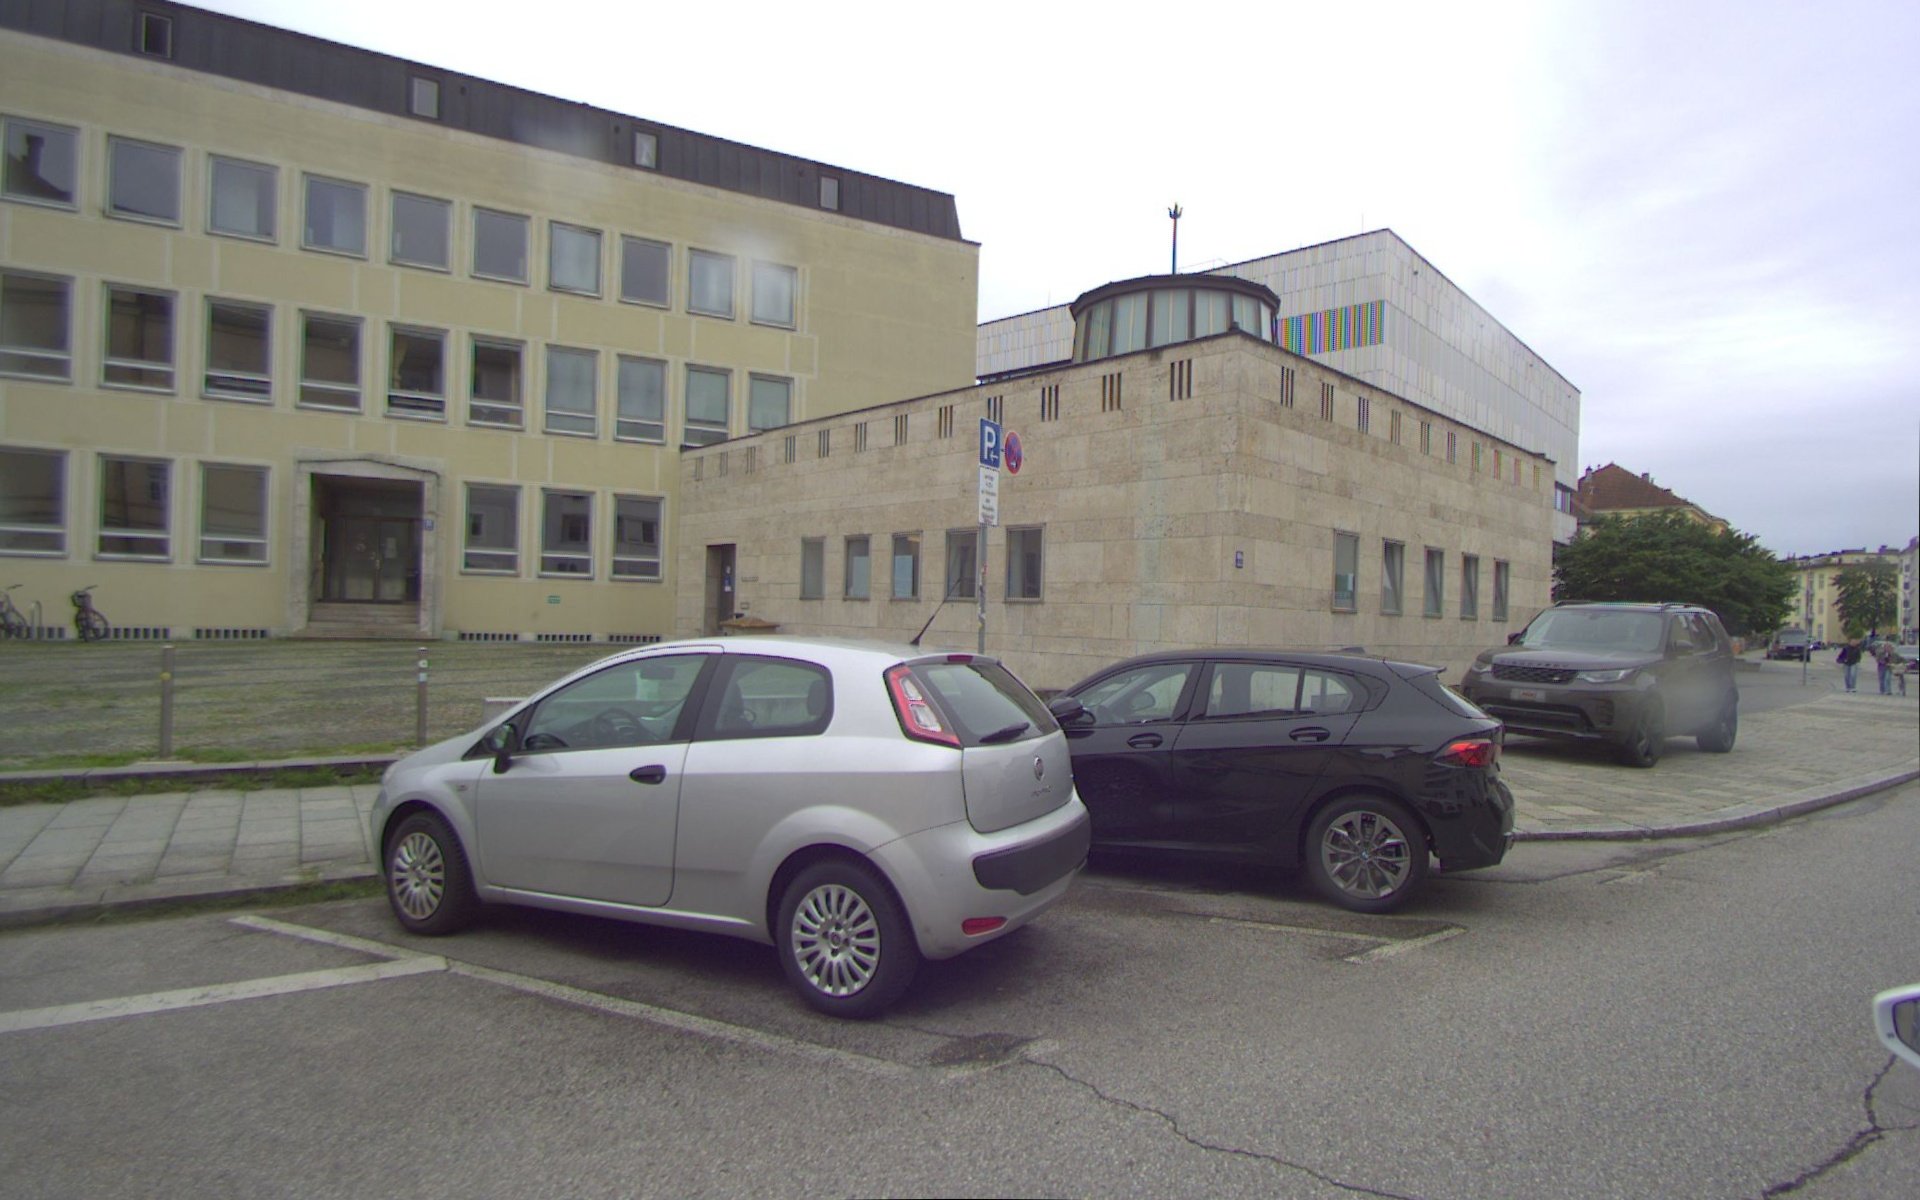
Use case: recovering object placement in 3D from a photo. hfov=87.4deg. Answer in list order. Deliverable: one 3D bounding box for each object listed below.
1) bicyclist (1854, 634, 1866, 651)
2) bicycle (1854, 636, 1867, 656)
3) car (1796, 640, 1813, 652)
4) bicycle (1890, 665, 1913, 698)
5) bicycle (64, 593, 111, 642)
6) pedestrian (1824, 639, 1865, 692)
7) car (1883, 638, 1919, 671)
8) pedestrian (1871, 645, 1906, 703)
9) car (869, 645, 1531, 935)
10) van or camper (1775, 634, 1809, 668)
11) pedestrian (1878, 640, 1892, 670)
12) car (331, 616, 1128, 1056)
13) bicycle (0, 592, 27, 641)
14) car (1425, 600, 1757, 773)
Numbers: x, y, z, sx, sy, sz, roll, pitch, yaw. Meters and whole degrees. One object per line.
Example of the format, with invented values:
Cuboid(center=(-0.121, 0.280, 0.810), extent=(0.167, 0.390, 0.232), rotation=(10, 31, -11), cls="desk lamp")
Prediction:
Cuboid(center=(108.509, 5.133, 121.088), extent=(1.021, 2.040, 1.180), rotation=(2, -2, 41), cls="bicyclist")
Cuboid(center=(108.422, 5.536, 120.933), extent=(1.014, 2.039, 3.267), rotation=(2, -5, 41), cls="bicycle")
Cuboid(center=(114.717, 6.264, 136.466), extent=(1.614, 1.503, 3.592), rotation=(2, -1, 41), cls="car")
Cuboid(center=(29.814, 2.555, 31.800), extent=(1.703, 0.982, 0.385), rotation=(2, -1, -43), cls="bicycle")
Cuboid(center=(-18.486, 0.355, 21.301), extent=(0.409, 0.957, 1.698), rotation=(1, 1, -29), cls="bicycle")
Cuboid(center=(28.951, 2.135, 32.882), extent=(0.911, 1.651, 0.757), rotation=(2, -1, -33), cls="pedestrian")
Cuboid(center=(57.306, 3.285, 60.562), extent=(1.968, 1.860, 4.152), rotation=(2, -1, 37), cls="car")
Cuboid(center=(29.535, 2.330, 31.954), extent=(0.914, 1.792, 0.728), rotation=(2, -1, -43), cls="pedestrian")
Cuboid(center=(1.540, 1.050, 6.814), extent=(3.923, 1.439, 1.813), rotation=(-1, -3, 26), cls="car")
Cuboid(center=(68.165, 4.133, 82.298), extent=(2.072, 2.585, 4.749), rotation=(2, -1, 40), cls="van or camper")
Cuboid(center=(46.128, 2.733, 50.076), extent=(0.439, 1.479, 0.457), rotation=(4, -1, -42), cls="pedestrian")
Cuboid(center=(-1.202, 0.885, 5.136), extent=(3.739, 1.527, 1.713), rotation=(-1, -3, 27), cls="car")
Cuboid(center=(-19.759, 0.329, 20.708), extent=(0.409, 0.957, 1.464), rotation=(1, 1, -29), cls="bicycle")
Cuboid(center=(8.087, 0.990, 12.682), extent=(4.844, 1.759, 2.036), rotation=(3, -1, -38), cls="car")
